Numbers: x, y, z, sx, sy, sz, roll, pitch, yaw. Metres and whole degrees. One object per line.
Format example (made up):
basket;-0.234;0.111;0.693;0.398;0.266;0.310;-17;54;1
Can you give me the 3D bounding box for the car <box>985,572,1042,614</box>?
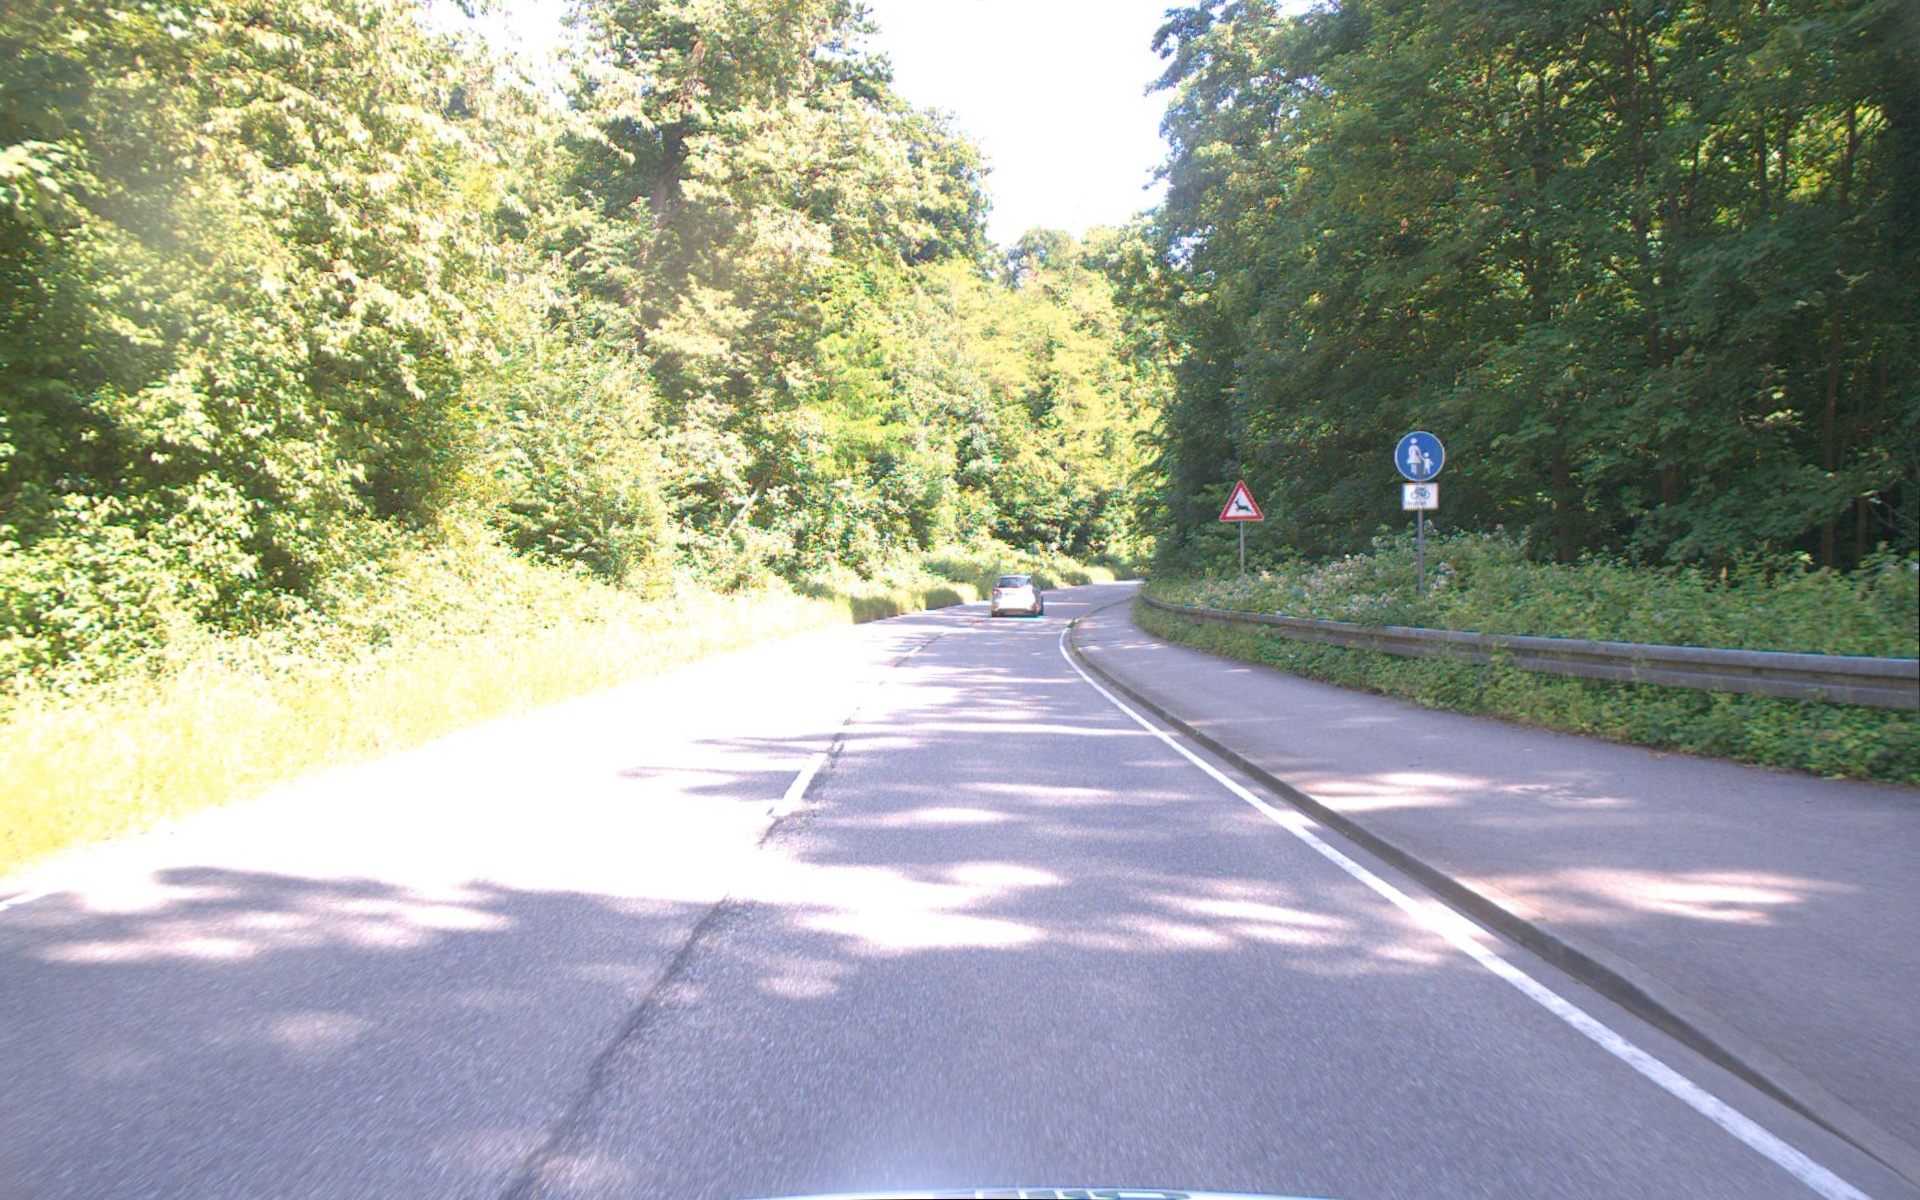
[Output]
car;2.045;-0.294;62.128;1.714;1.546;4.163;0;1;8
